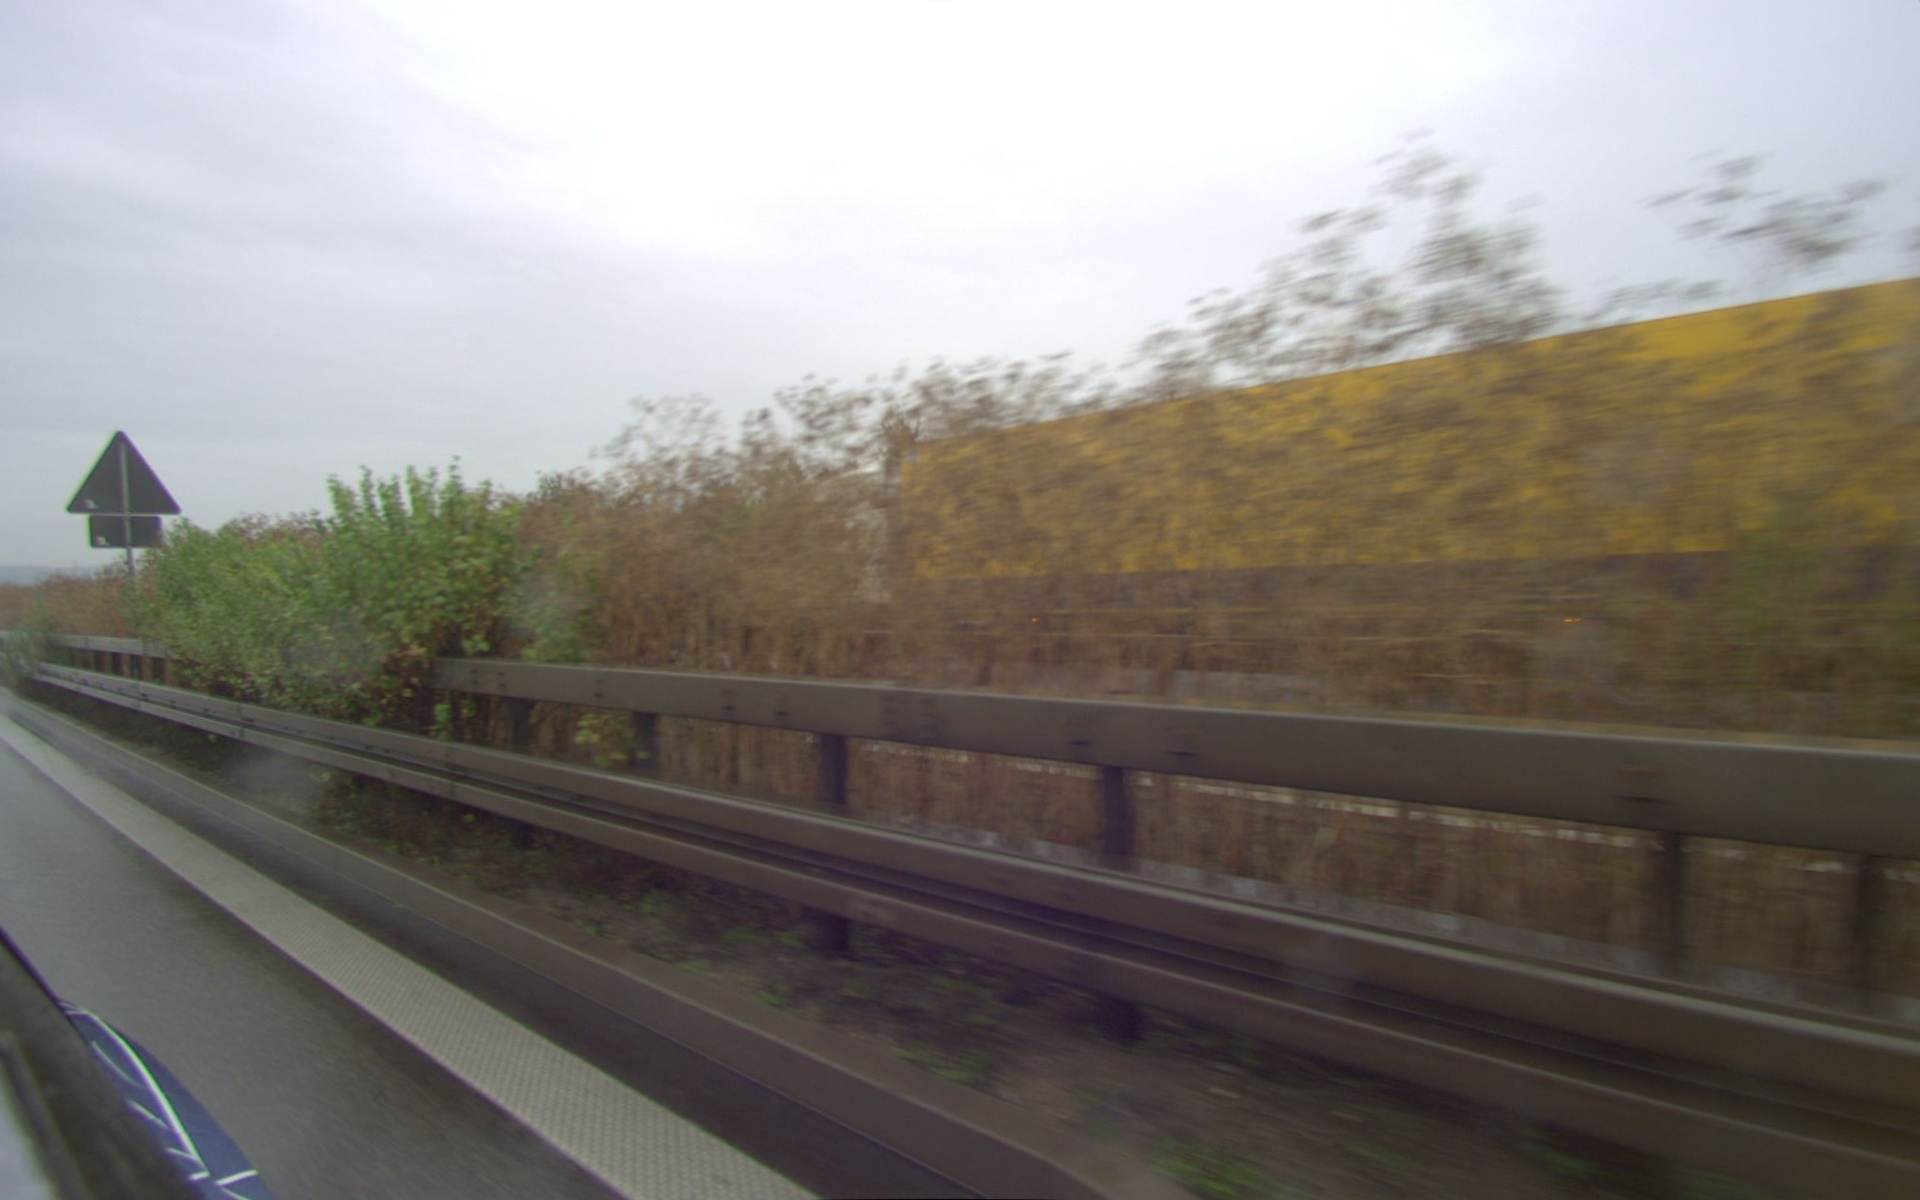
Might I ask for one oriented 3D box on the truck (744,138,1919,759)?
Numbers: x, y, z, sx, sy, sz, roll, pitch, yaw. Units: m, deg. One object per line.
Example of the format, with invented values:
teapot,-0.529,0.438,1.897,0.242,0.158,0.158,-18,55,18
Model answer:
truck,4.037,-1.080,15.121,18.230,5.082,4.653,-2,-1,43
